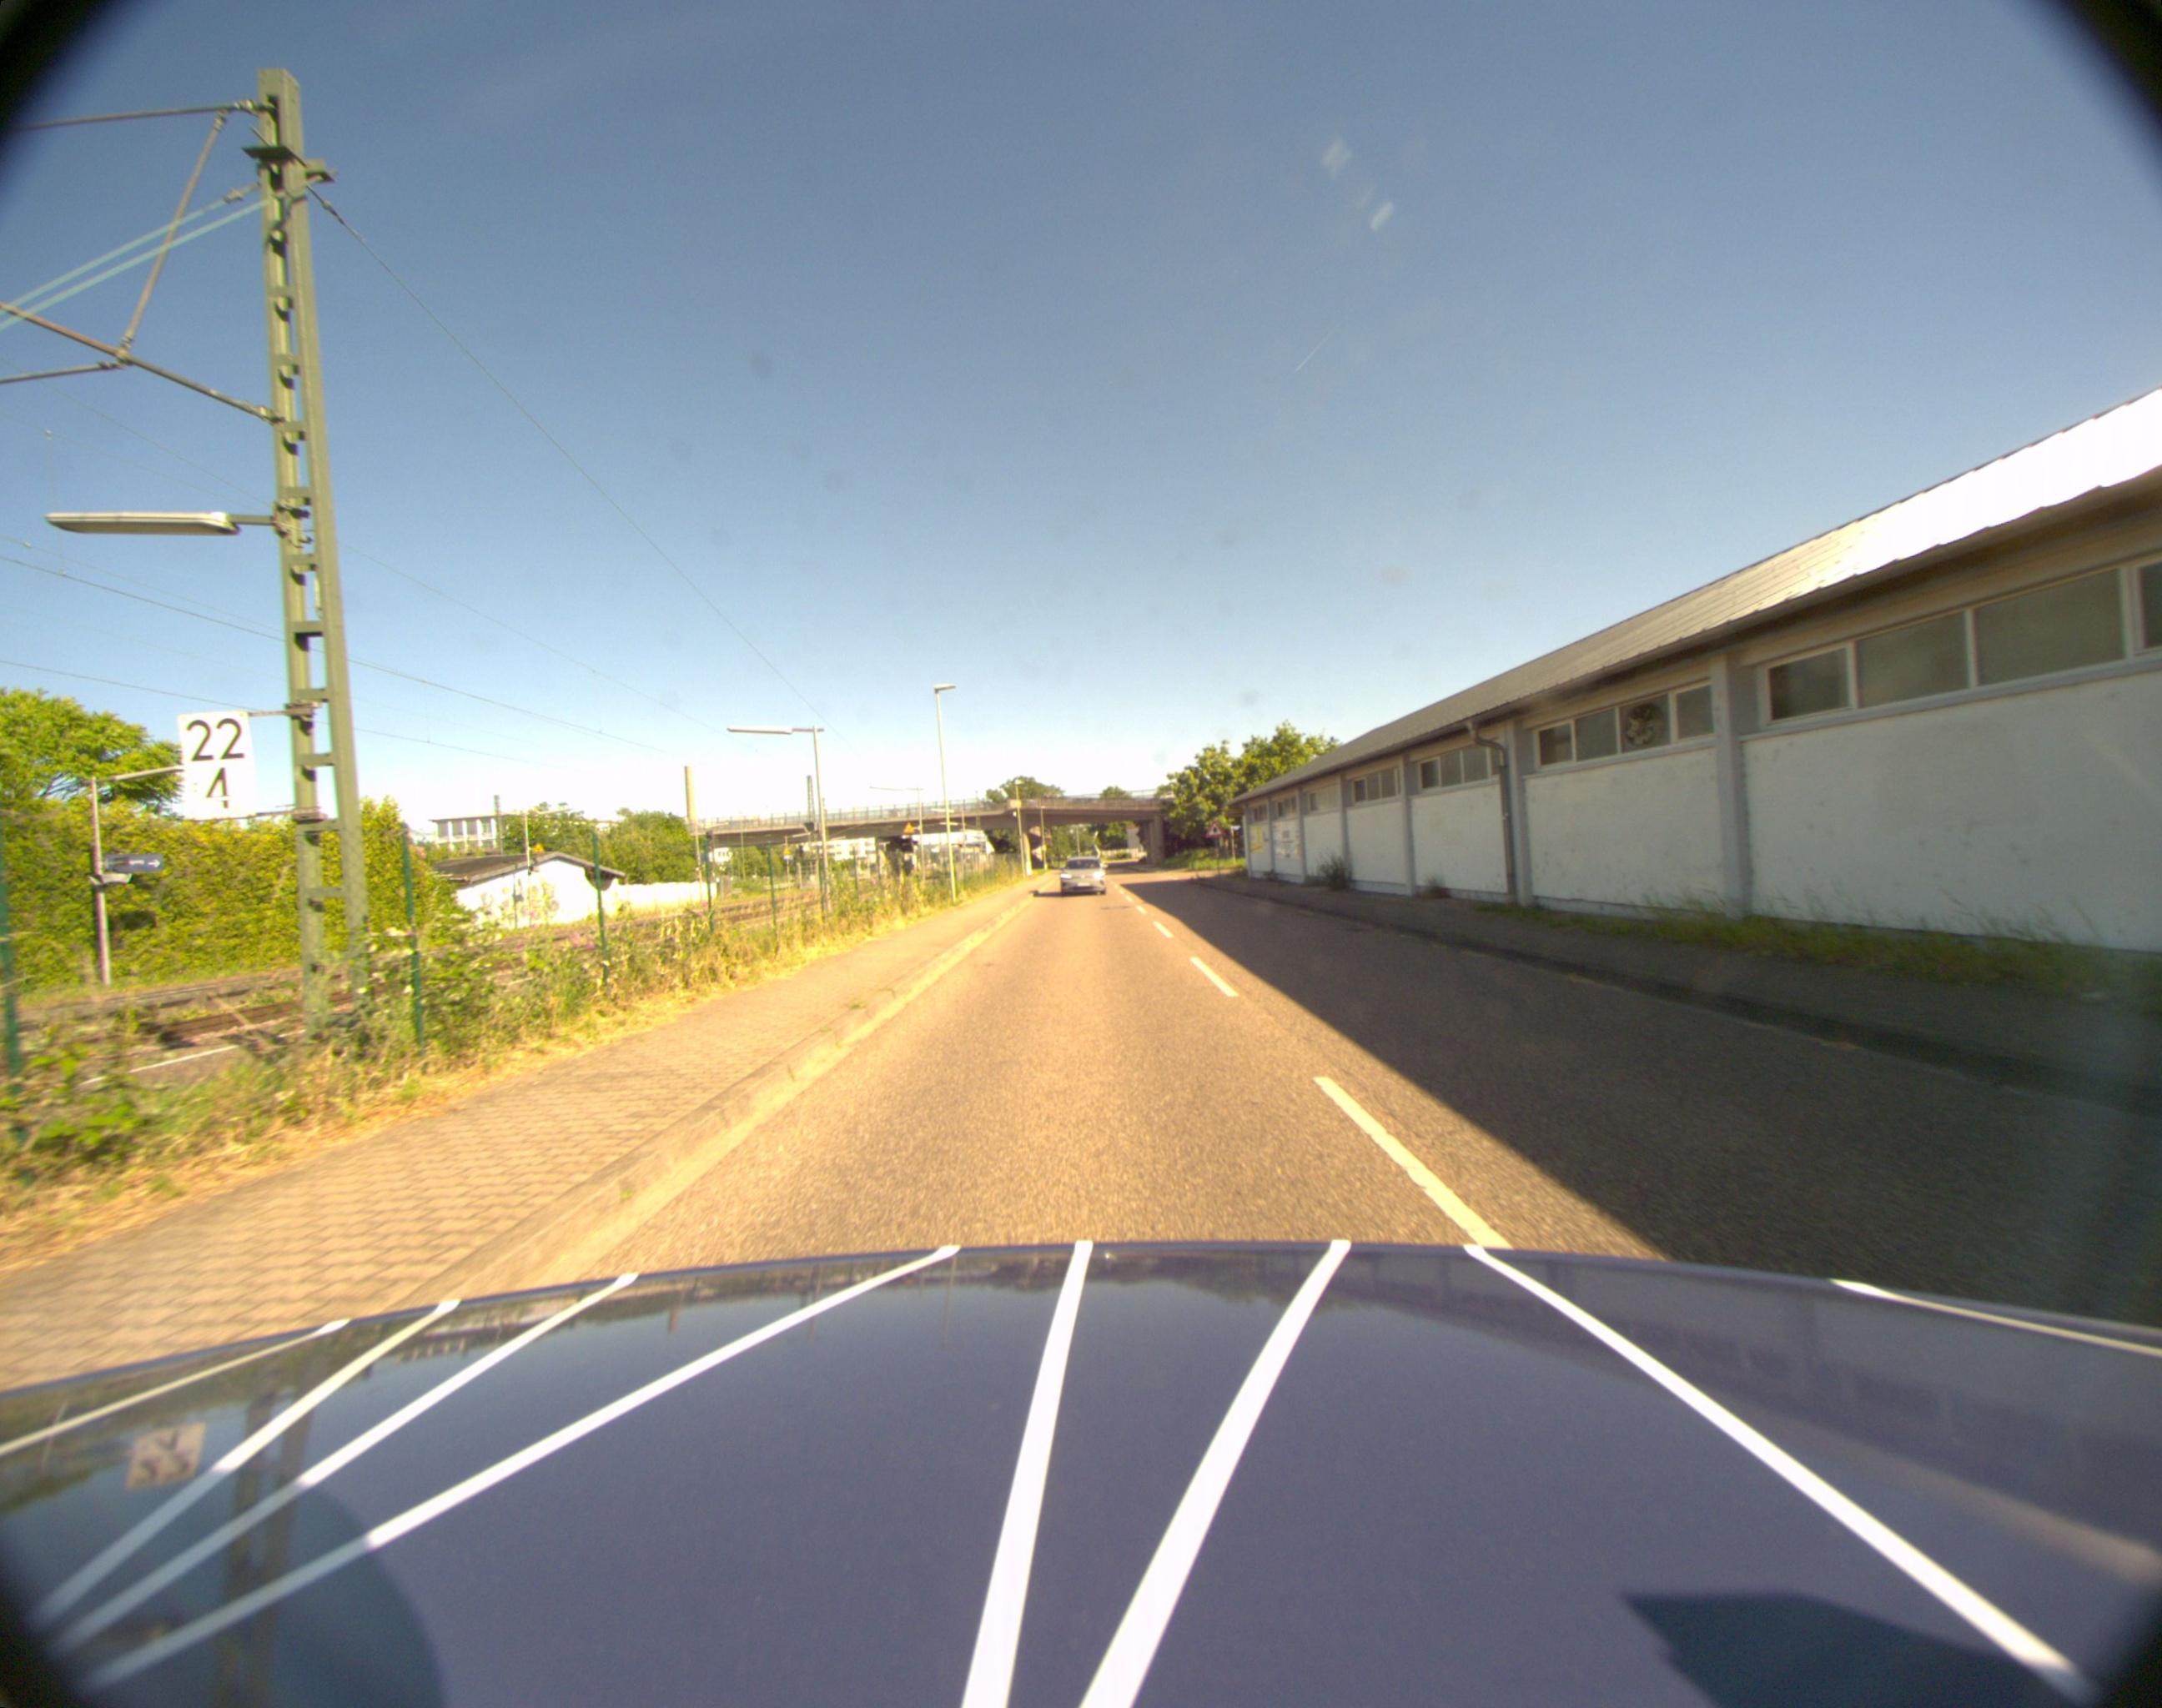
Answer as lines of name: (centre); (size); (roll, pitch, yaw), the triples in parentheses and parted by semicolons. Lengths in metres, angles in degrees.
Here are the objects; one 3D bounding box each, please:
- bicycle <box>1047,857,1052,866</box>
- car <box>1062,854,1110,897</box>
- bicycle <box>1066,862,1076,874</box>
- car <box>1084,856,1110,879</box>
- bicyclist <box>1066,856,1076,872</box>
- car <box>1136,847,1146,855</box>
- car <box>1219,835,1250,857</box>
bicycle: (-4.583, 1.085, 110.703); (0.599, 1.175, 2.180); (-3, 0, -5)
car: (0.189, 0.854, 32.511); (1.850, 1.621, 4.295); (-2, 0, 0)
bicycle: (-0.935, 1.366, 73.039); (0.843, 1.045, 2.189); (-3, 0, -2)
car: (1.189, 1.018, 59.110); (1.850, 1.621, 4.295); (-4, 0, 0)
bicyclist: (-0.963, 0.928, 73.117); (0.843, 1.480, 0.923); (-3, 1, -2)
car: (13.815, -0.646, 175.197); (1.998, 1.767, 4.367); (-4, 0, 6)
car: (19.628, -1.080, 96.981); (1.942, 2.665, 6.020); (-3, 0, 30)
